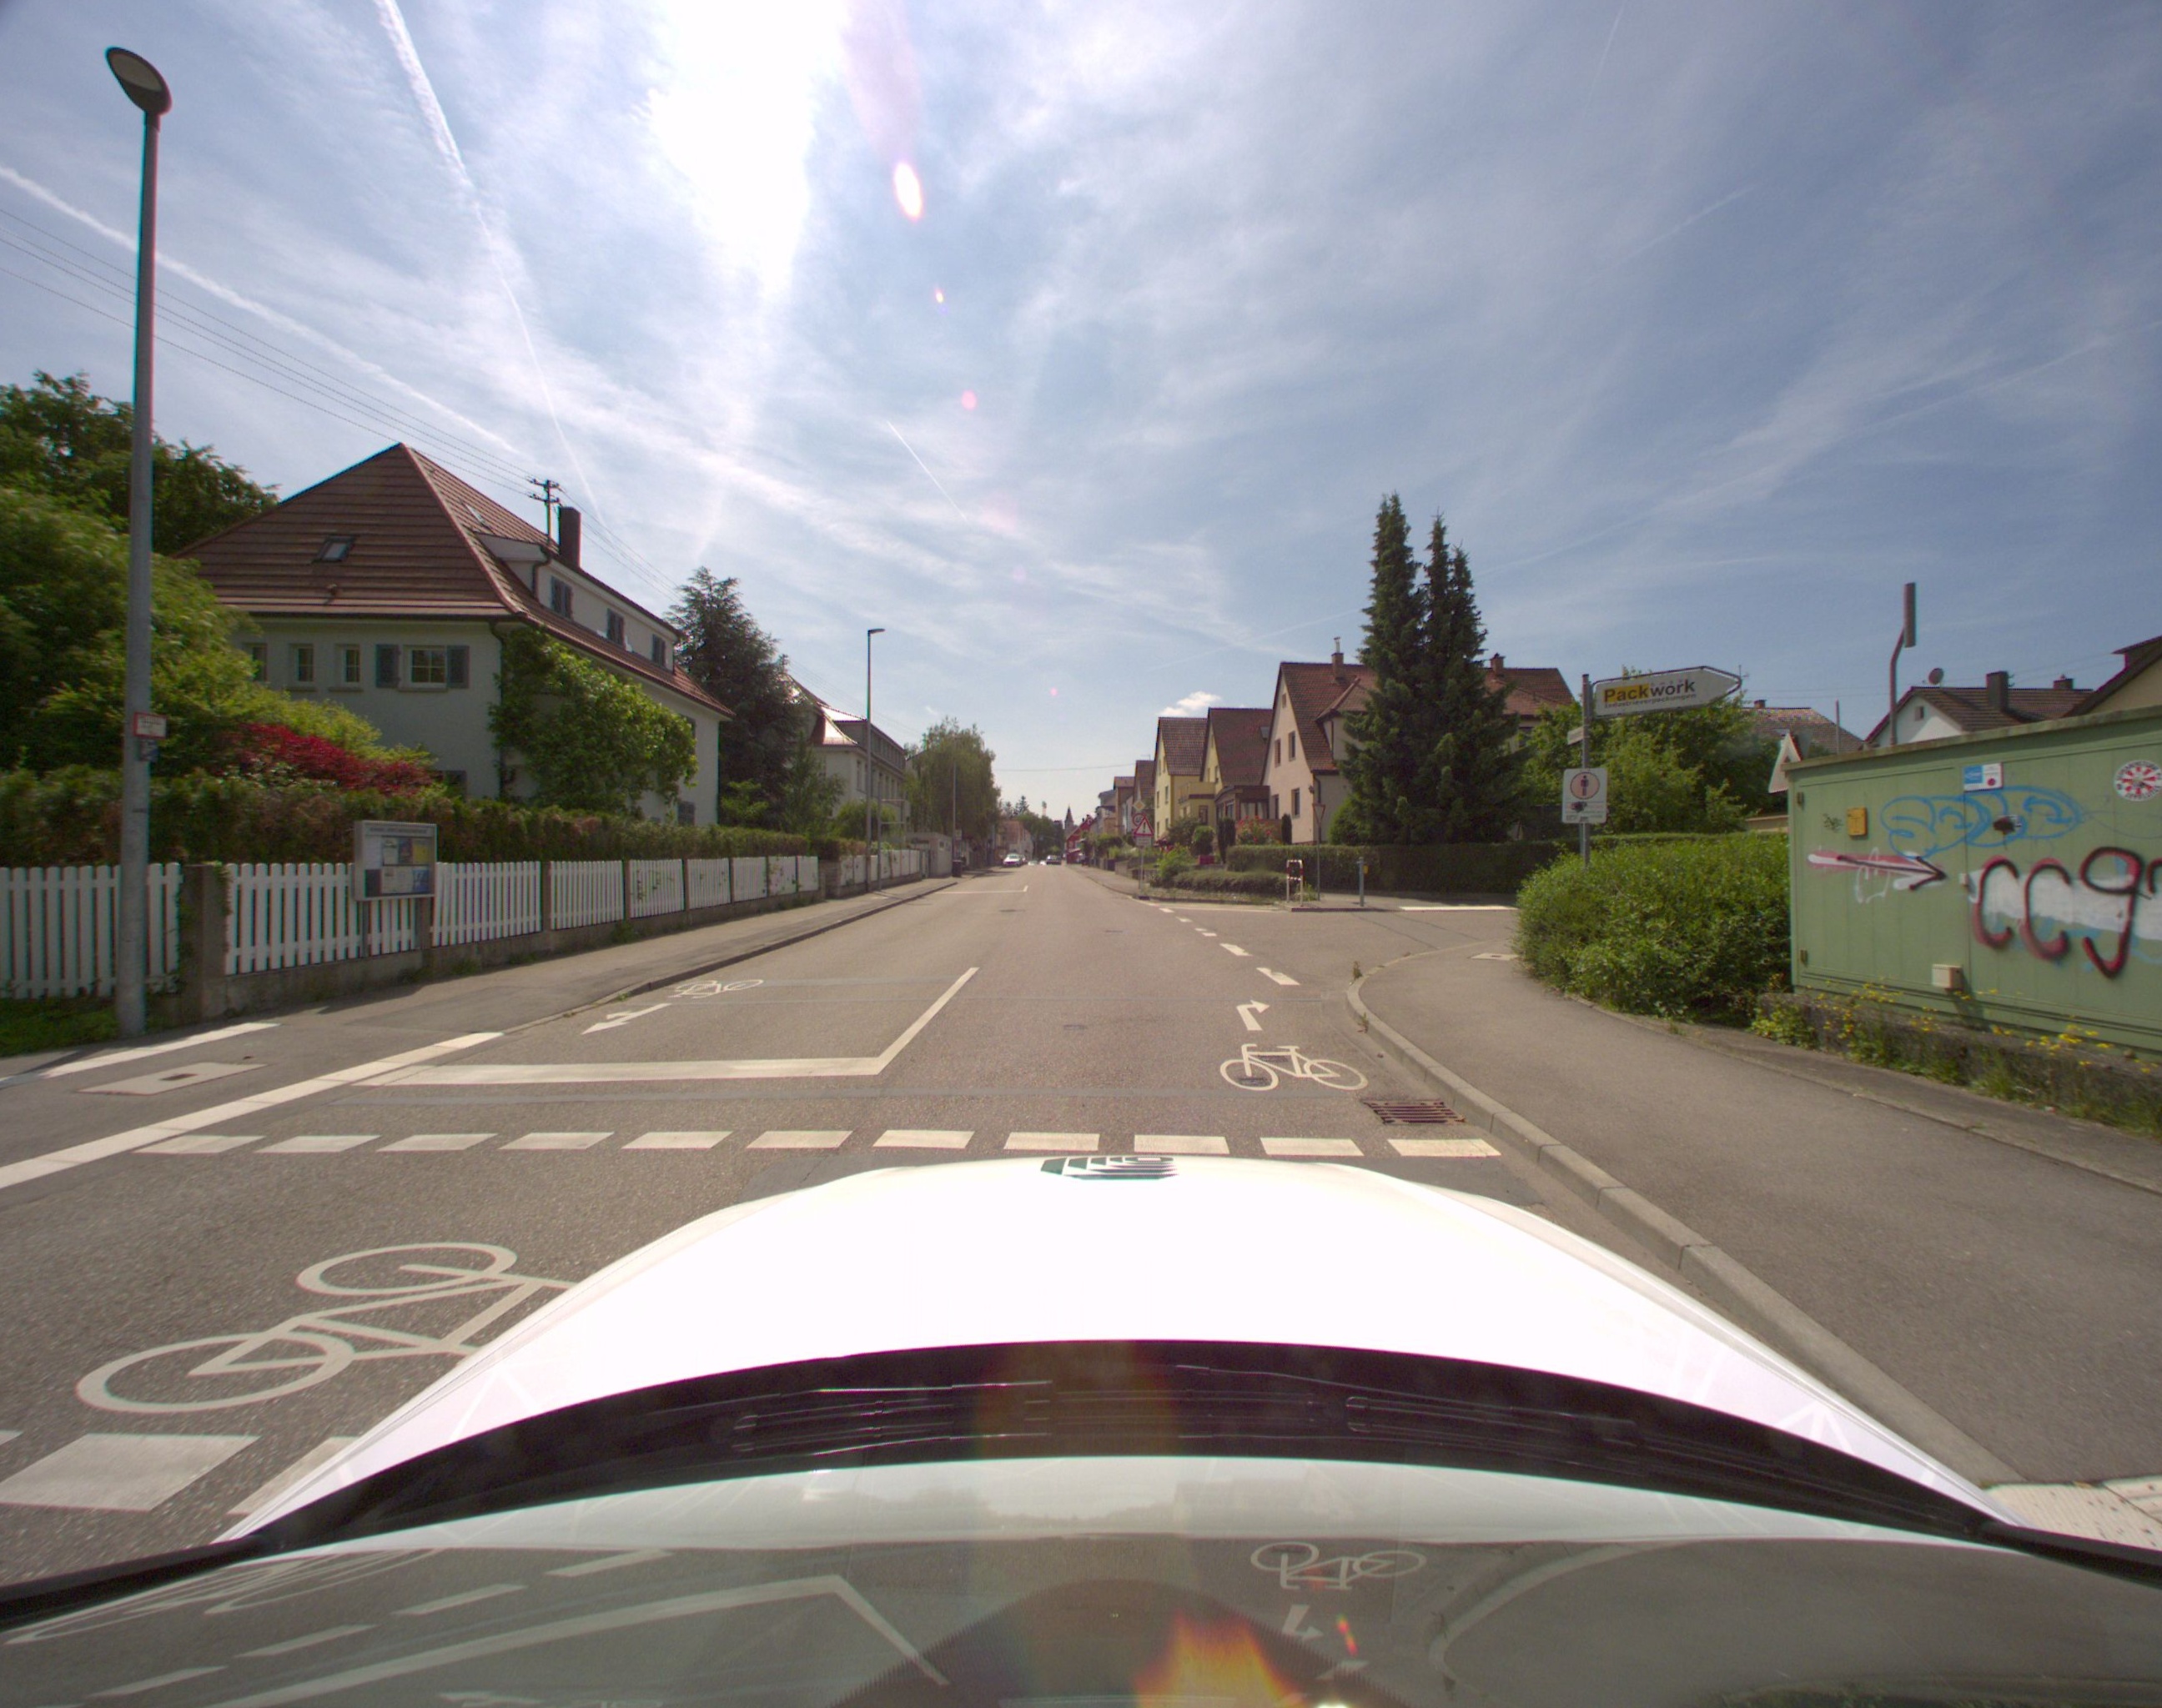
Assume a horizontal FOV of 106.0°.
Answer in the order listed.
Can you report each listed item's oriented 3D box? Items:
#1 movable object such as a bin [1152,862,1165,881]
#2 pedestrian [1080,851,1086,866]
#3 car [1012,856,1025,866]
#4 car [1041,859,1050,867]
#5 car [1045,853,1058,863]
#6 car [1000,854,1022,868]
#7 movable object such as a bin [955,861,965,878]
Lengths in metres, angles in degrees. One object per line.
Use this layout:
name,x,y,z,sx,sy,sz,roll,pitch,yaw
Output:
movable object such as a bin,4.535,1.038,47.893,0.582,1.078,0.733,4,0,-3
pedestrian,0.252,0.517,93.818,0.644,1.729,0.608,-3,0,-3
car,-9.968,1.102,129.598,1.989,1.560,4.309,-1,0,-3
car,-8.676,2.162,197.952,1.987,2.013,3.999,-1,0,-1
car,-4.878,0.614,134.723,1.991,1.560,4.305,-1,0,-6
car,-8.015,0.747,93.635,2.102,1.560,4.316,-1,0,2
movable object such as a bin,-7.734,0.995,52.071,0.606,1.046,0.724,1,1,-3
